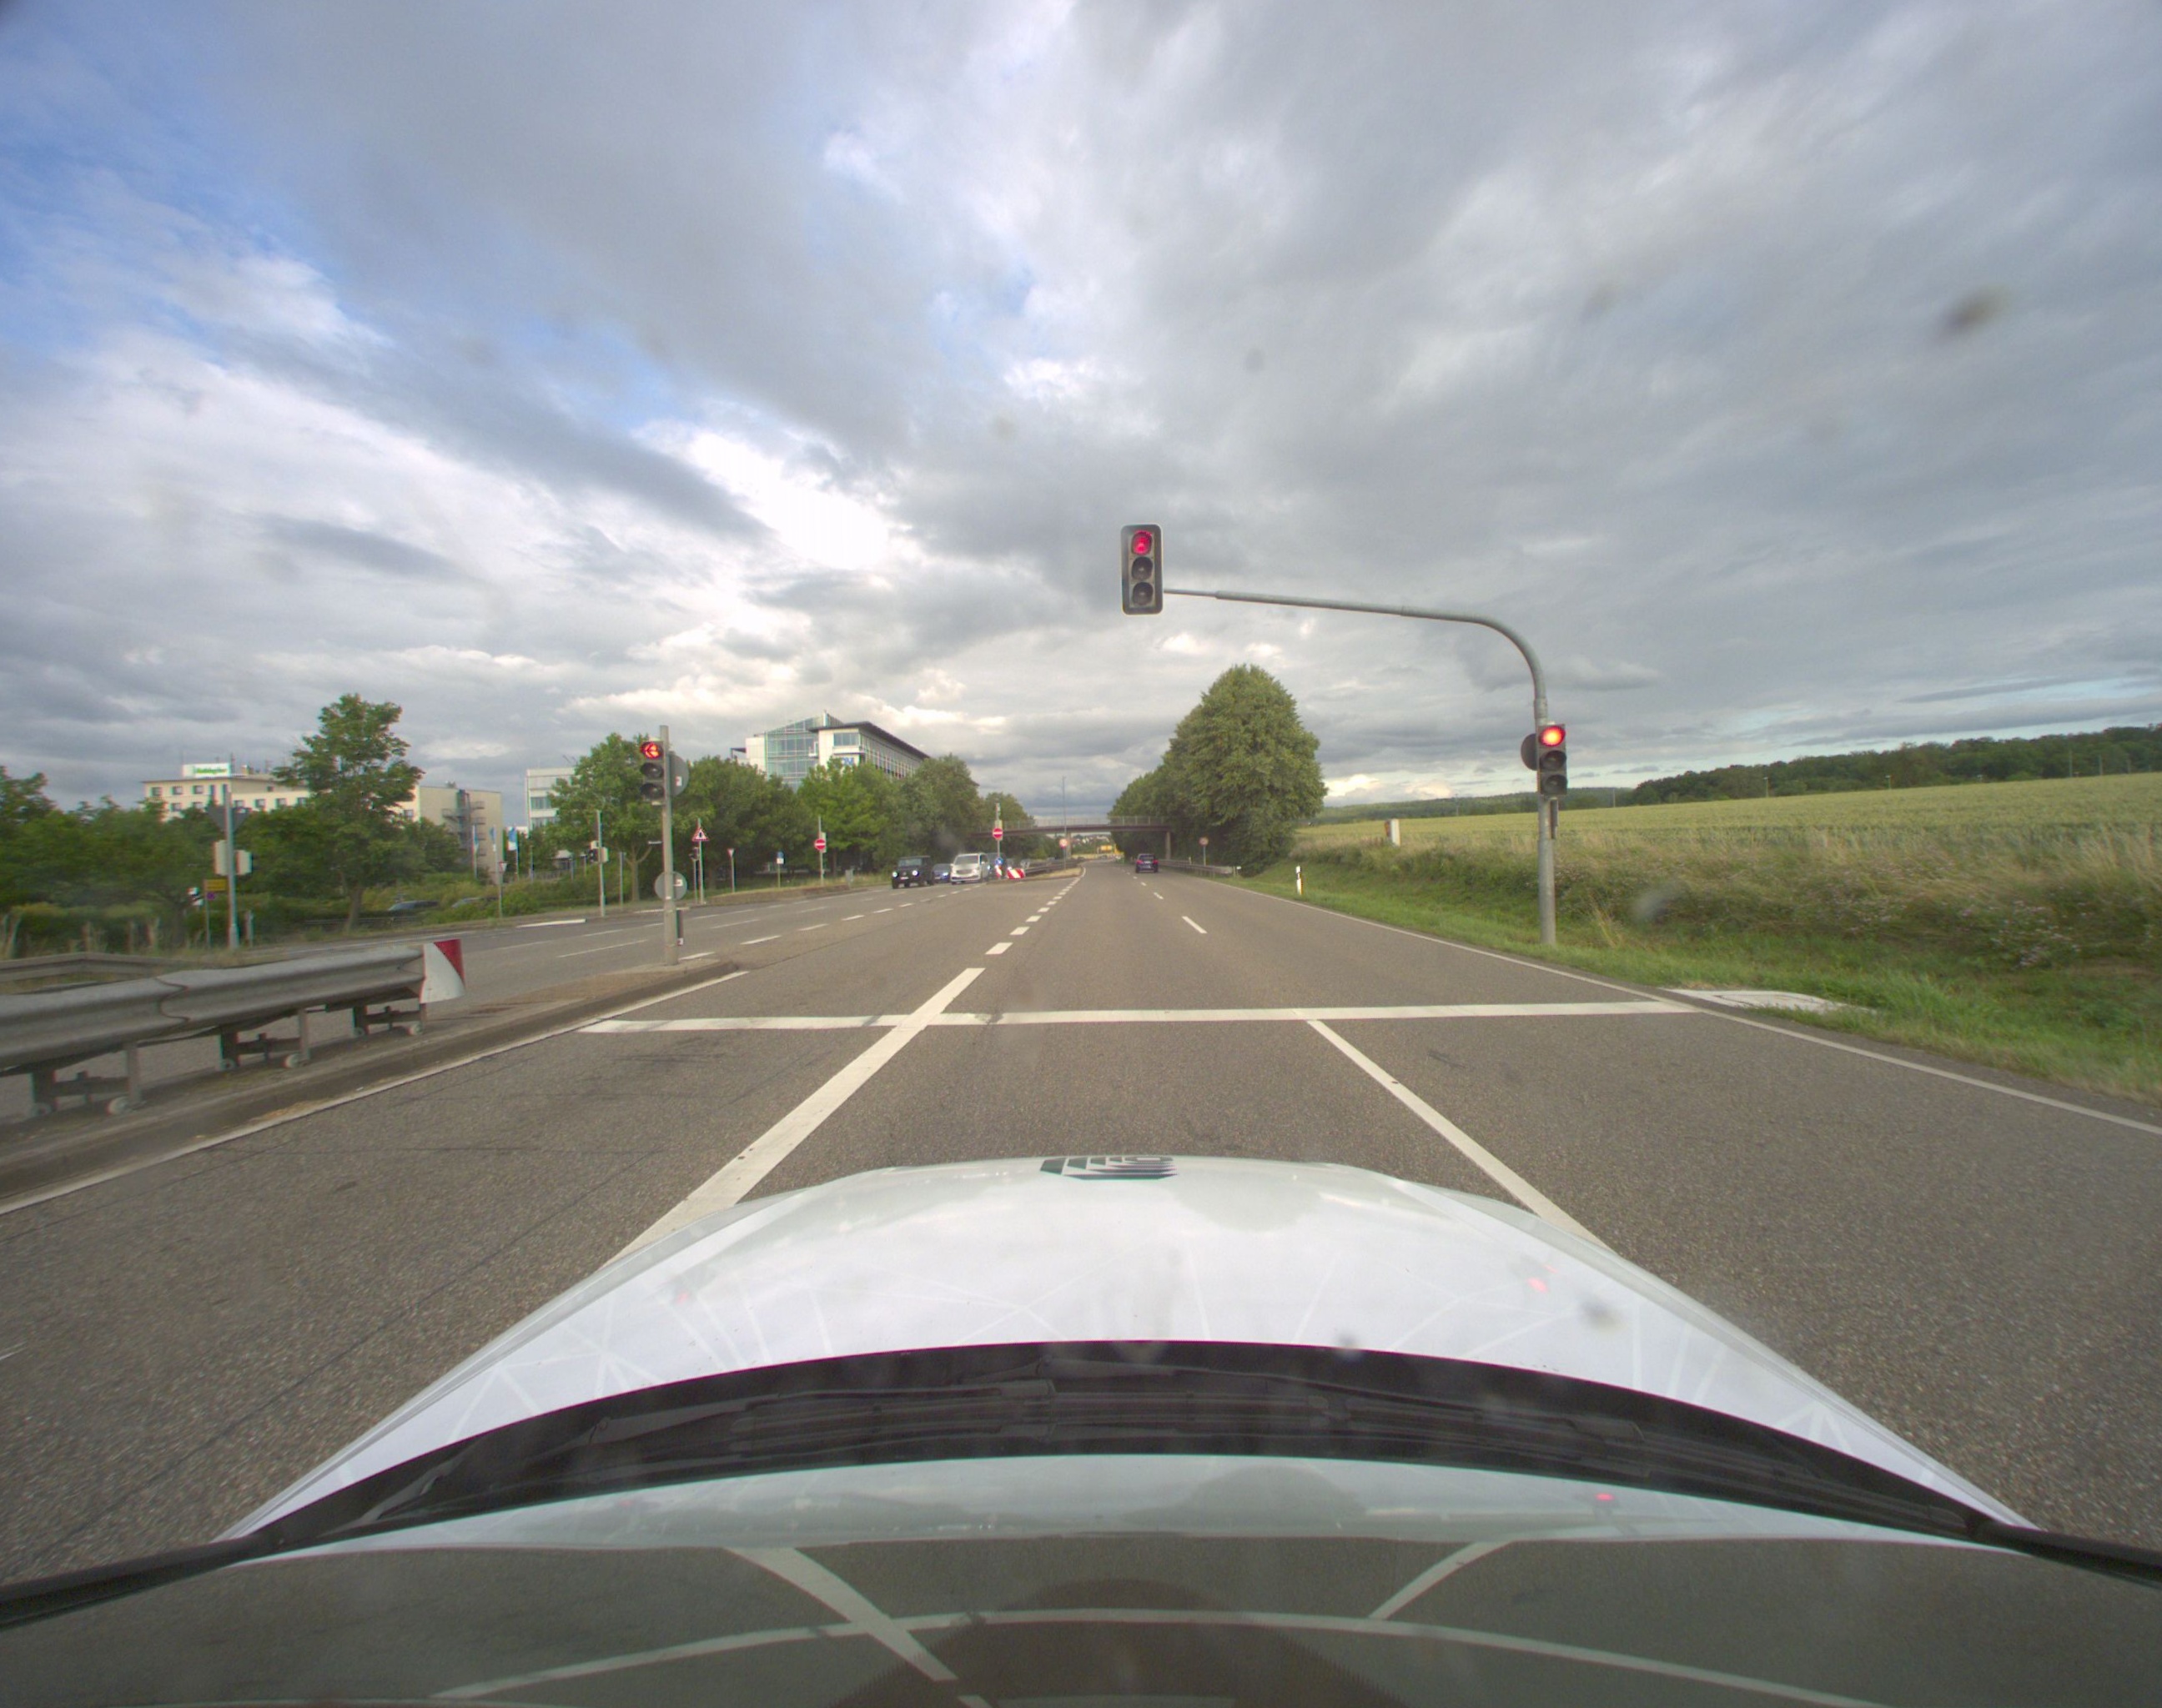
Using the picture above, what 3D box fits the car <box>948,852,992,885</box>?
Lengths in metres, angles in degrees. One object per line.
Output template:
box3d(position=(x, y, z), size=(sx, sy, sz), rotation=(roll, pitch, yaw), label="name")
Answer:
box3d(position=(-7.061, 0.909, 52.387), size=(2.076, 2.014, 5.216), rotation=(0, 0, 0), label="car")

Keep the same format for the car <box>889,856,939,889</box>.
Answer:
box3d(position=(-10.681, 1.139, 52.357), size=(2.076, 2.014, 5.216), rotation=(0, 0, 0), label="car")

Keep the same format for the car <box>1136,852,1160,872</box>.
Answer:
box3d(position=(5.492, 0.635, 66.761), size=(1.871, 1.552, 4.004), rotation=(0, 0, 4), label="car")

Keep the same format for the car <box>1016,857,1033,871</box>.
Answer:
box3d(position=(-8.701, 1.524, 125.964), size=(2.076, 2.014, 5.216), rotation=(0, 0, 0), label="car")

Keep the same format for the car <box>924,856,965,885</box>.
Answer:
box3d(position=(-9.993, 1.192, 59.846), size=(2.076, 2.014, 5.216), rotation=(0, 0, 0), label="car")

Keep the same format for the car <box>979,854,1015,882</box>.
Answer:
box3d(position=(-6.153, 1.007, 60.107), size=(2.076, 2.014, 5.216), rotation=(0, 0, 0), label="car")

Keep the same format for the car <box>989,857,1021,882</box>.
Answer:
box3d(position=(-6.245, 1.232, 67.678), size=(2.076, 2.014, 5.216), rotation=(0, 0, 0), label="car")
